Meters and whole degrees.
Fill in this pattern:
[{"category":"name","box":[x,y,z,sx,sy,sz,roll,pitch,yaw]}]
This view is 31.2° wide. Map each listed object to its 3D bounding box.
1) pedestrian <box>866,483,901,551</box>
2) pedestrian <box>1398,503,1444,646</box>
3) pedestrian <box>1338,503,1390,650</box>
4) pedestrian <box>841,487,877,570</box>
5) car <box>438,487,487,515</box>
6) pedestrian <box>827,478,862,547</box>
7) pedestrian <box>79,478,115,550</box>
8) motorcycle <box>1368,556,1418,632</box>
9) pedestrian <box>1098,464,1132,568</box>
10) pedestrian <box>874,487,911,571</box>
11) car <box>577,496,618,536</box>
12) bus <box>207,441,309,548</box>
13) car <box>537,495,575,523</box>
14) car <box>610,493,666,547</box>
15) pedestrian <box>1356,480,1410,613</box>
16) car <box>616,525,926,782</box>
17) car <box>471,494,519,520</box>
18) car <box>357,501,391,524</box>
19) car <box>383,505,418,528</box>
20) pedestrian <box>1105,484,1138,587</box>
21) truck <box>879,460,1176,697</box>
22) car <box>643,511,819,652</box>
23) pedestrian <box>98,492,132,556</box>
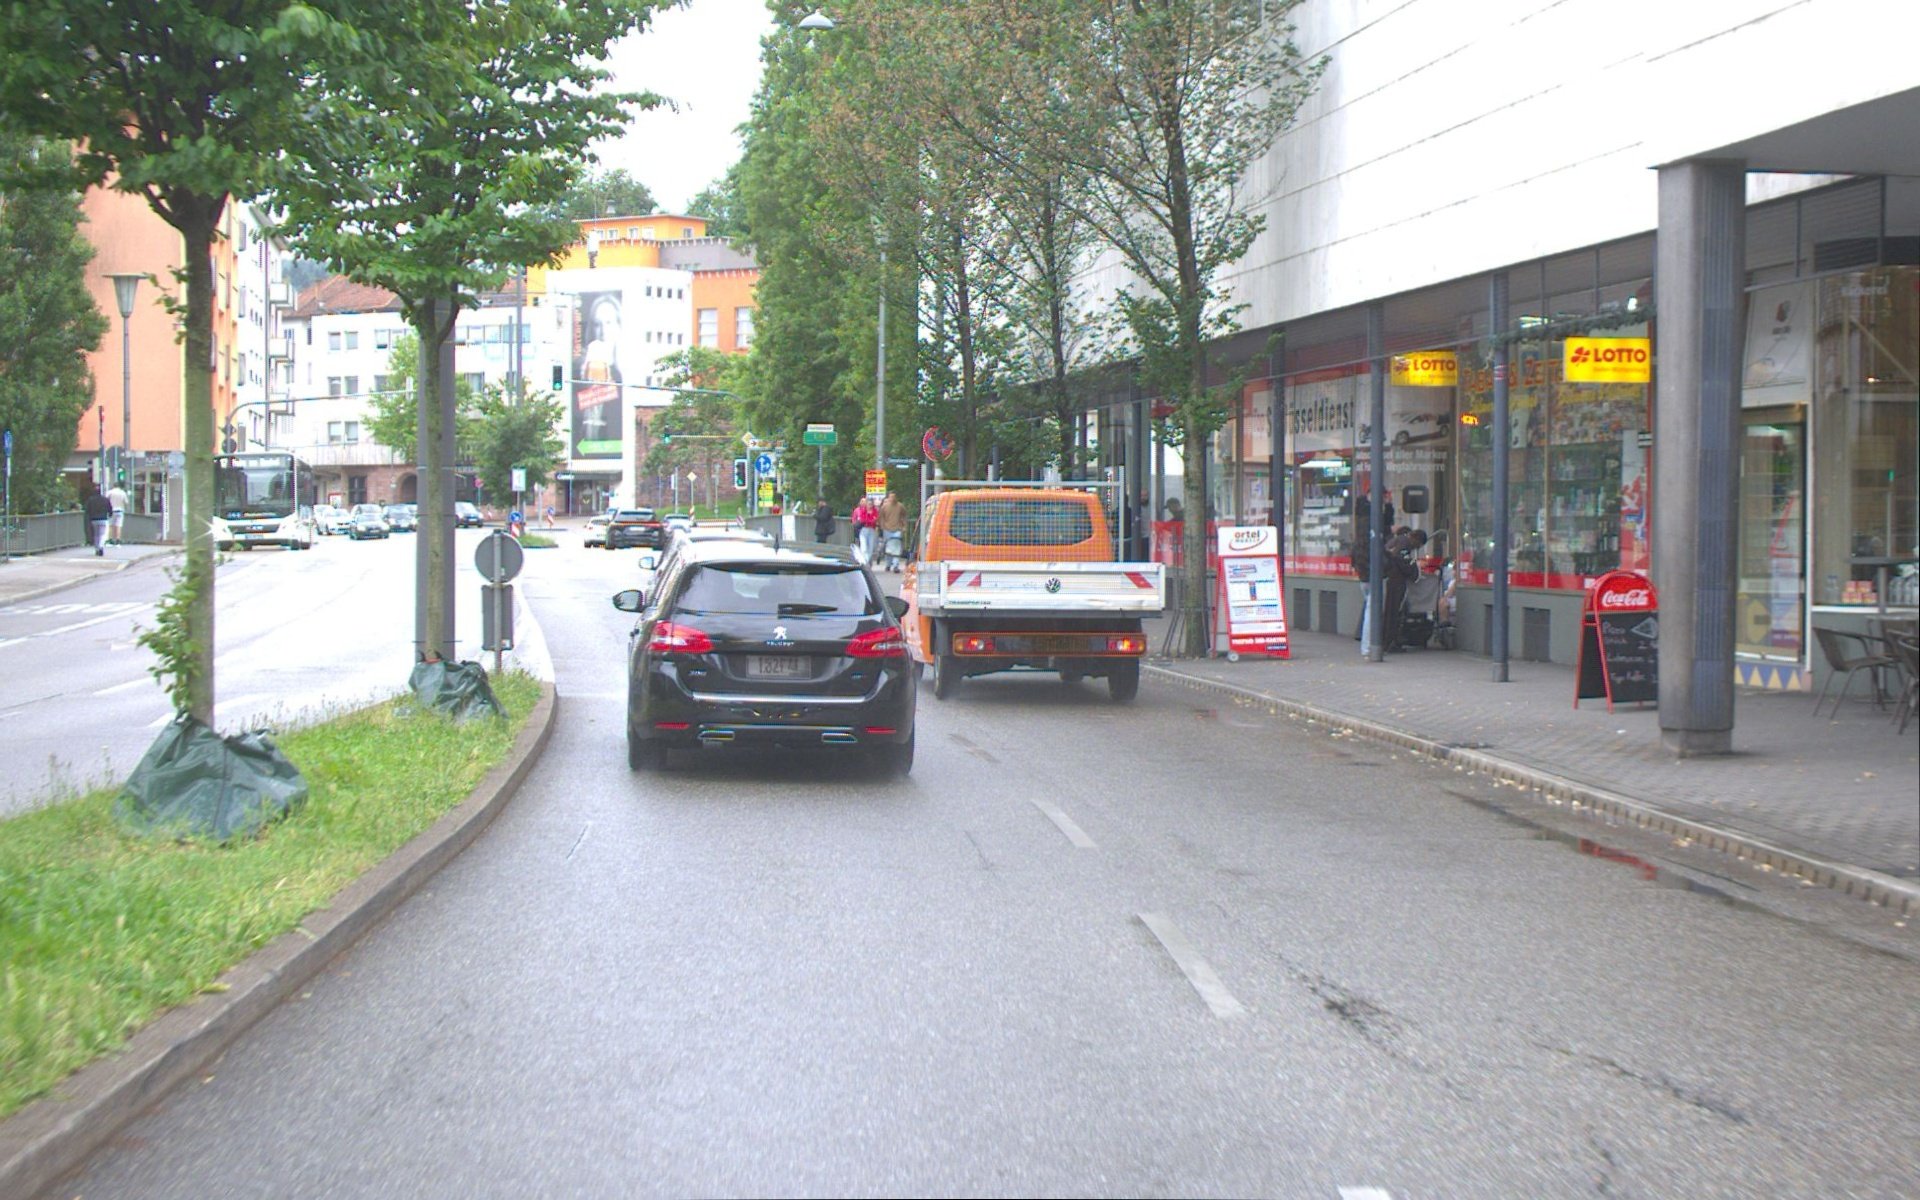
[{"category":"pedestrian","box":[-1.804,-1.955,80.977,0.725,1.584,0.607,-1,2,-8]},{"category":"pedestrian","box":[5.079,-0.287,37.868,0.387,1.561,0.430,-1,2,-10]},{"category":"pedestrian","box":[4.357,-0.259,37.092,0.429,1.561,0.510,-1,2,-9]},{"category":"pedestrian","box":[-2.180,-1.553,74.329,0.653,1.761,0.923,-1,2,-8]},{"category":"car","box":[-31.094,-6.176,214.726,1.644,1.559,3.600,3,-1,-32]},{"category":"pedestrian","box":[-2.732,-2.065,81.403,0.717,1.614,0.769,-1,2,-8]},{"category":"pedestrian","box":[-21.831,-2.178,86.954,0.698,1.787,0.959,1,1,-5]},{"category":"motorcycle","box":[4.780,-0.070,37.958,0.324,0.801,0.920,-1,3,-8]},{"category":"pedestrian","box":[2.550,-1.392,56.702,0.536,1.713,0.534,0,2,1]},{"category":"pedestrian","box":[-1.460,-1.534,74.341,0.698,1.795,0.607,-1,2,-8]},{"category":"car","box":[-16.317,-3.774,154.797,1.644,1.559,3.601,3,-1,-8]},{"category":"bus","box":[-22.007,-3.402,108.246,2.743,3.065,12.242,0,3,-10]},{"category":"car","box":[-24.420,-5.502,207.714,1.993,1.678,4.001,0,2,-11]},{"category":"car","box":[-10.696,-2.636,114.023,1.644,1.559,3.601,3,-1,-8]},{"category":"pedestrian","box":[5.017,-0.638,40.757,0.430,1.561,0.508,1,2,38]},{"category":"car","box":[-1.238,0.292,22.475,1.794,1.478,4.001,2,1,-3]},{"category":"car","box":[-29.565,-5.907,218.491,1.644,1.559,3.600,3,-1,-32]},{"category":"car","box":[-33.294,-4.991,195.525,1.791,1.320,4.408,0,2,-8]},{"category":"car","box":[-33.189,-4.958,203.810,1.791,1.320,4.408,0,2,-13]},{"category":"pedestrian","box":[2.694,-1.076,57.330,0.536,1.713,0.534,0,2,2]},{"category":"truck","box":[0.540,-0.218,32.326,2.121,2.018,4.717,1,1,-7]},{"category":"car","box":[-2.593,-0.243,38.154,1.794,1.478,4.001,0,1,-6]},{"category":"pedestrian","box":[-23.686,-2.133,96.406,0.797,1.787,0.812,1,1,-5]}]
